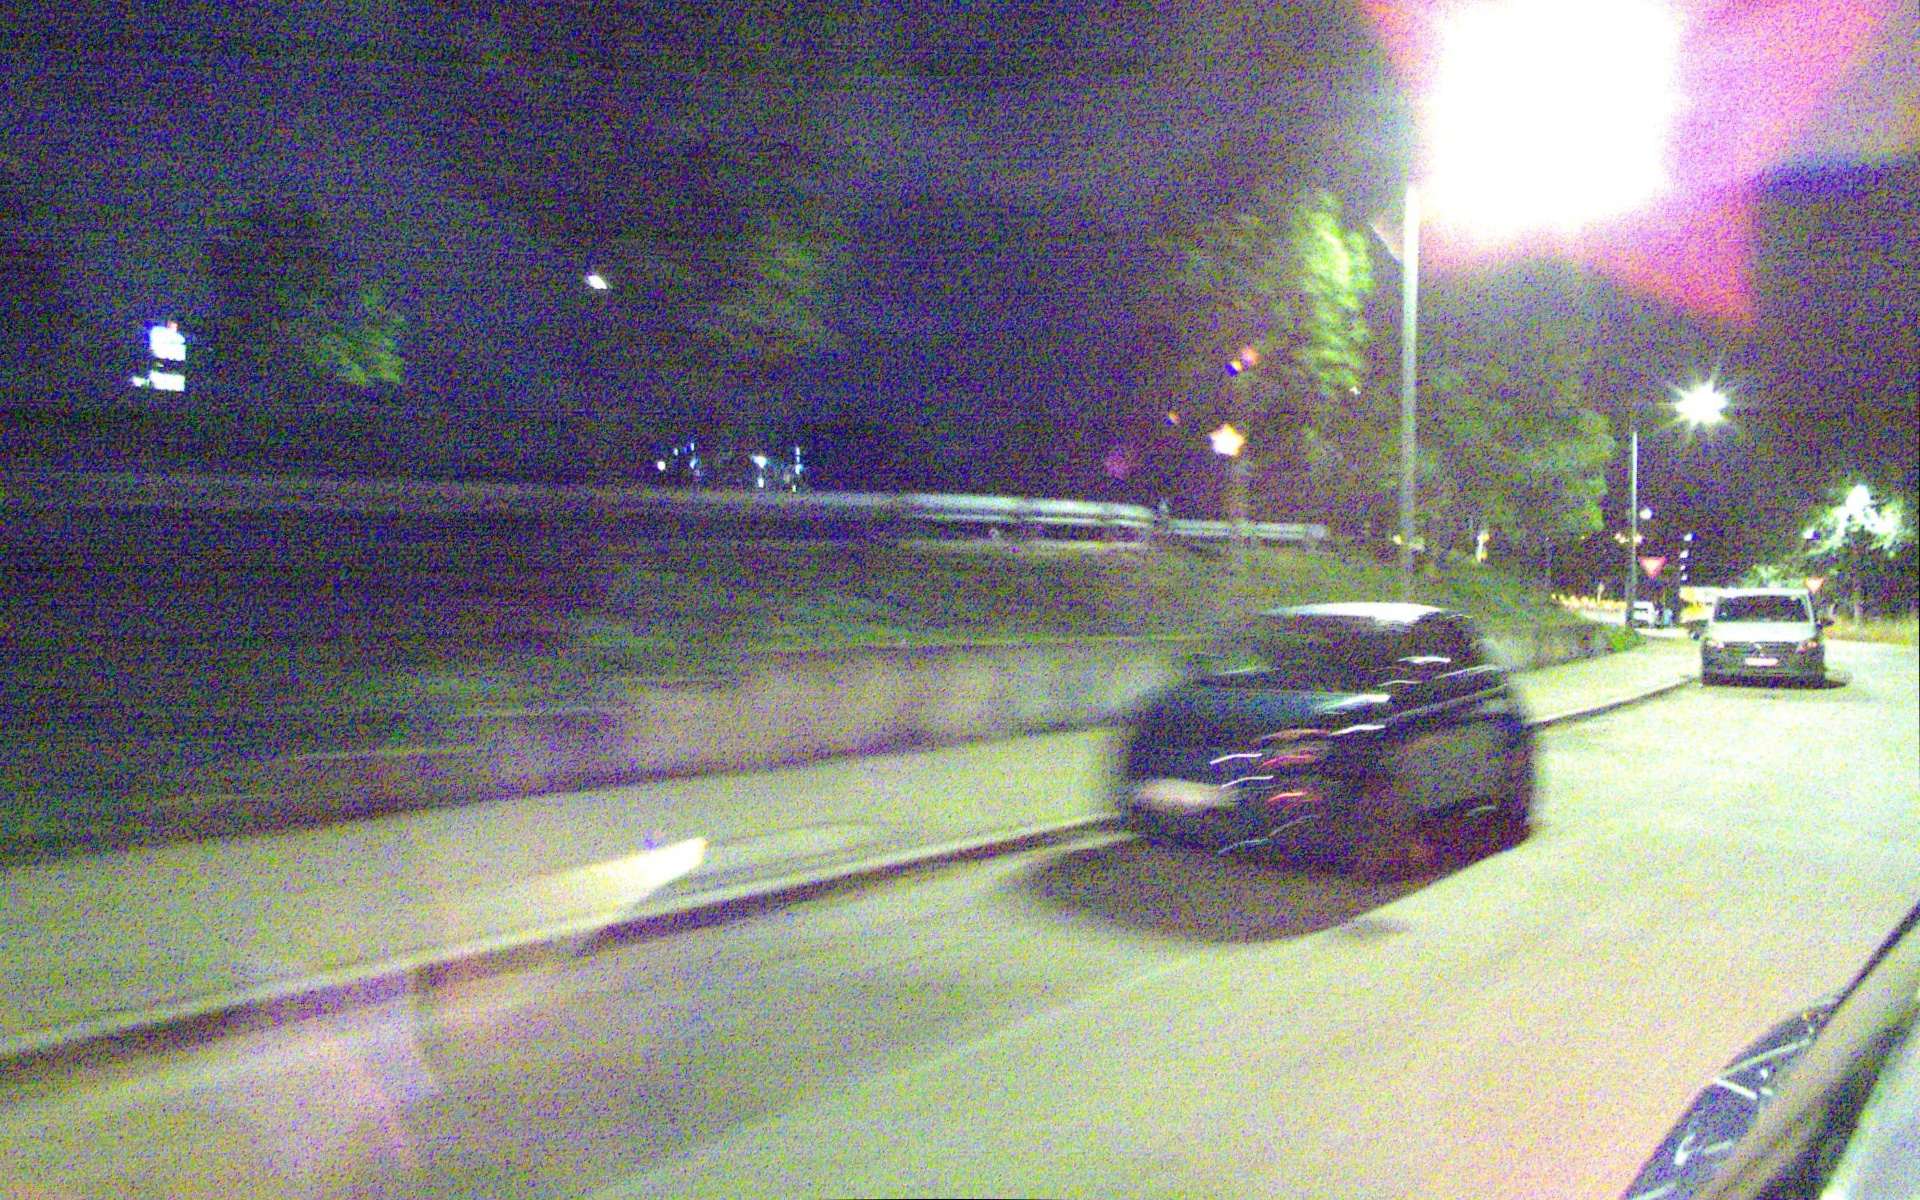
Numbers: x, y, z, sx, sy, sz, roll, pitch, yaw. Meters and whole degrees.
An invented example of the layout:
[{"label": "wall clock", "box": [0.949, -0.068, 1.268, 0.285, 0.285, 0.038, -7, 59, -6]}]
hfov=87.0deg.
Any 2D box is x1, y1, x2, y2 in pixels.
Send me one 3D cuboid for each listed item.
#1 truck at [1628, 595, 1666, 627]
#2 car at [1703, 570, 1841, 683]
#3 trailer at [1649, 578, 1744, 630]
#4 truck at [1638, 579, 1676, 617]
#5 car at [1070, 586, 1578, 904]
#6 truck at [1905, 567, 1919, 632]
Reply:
[{"label": "truck", "box": [60.992, 0.957, 89.821, 2.395, 2.602, 6.318, 2, 1, 38]}, {"label": "car", "box": [16.775, 0.499, 20.880, 1.991, 2.039, 5.276, -1, -1, 40]}, {"label": "trailer", "box": [30.873, 0.128, 42.572, 1.474, 2.039, 4.962, 1, 1, 15]}, {"label": "truck", "box": [71.650, -0.241, 104.089, 3.038, 3.668, 9.480, 2, 1, 35]}, {"label": "car", "box": [2.592, 0.715, 6.758, 3.760, 1.531, 1.610, 0, -2, -42]}, {"label": "truck", "box": [45.652, 0.025, 45.241, 2.728, 3.104, 9.241, 1, 1, 29]}]
